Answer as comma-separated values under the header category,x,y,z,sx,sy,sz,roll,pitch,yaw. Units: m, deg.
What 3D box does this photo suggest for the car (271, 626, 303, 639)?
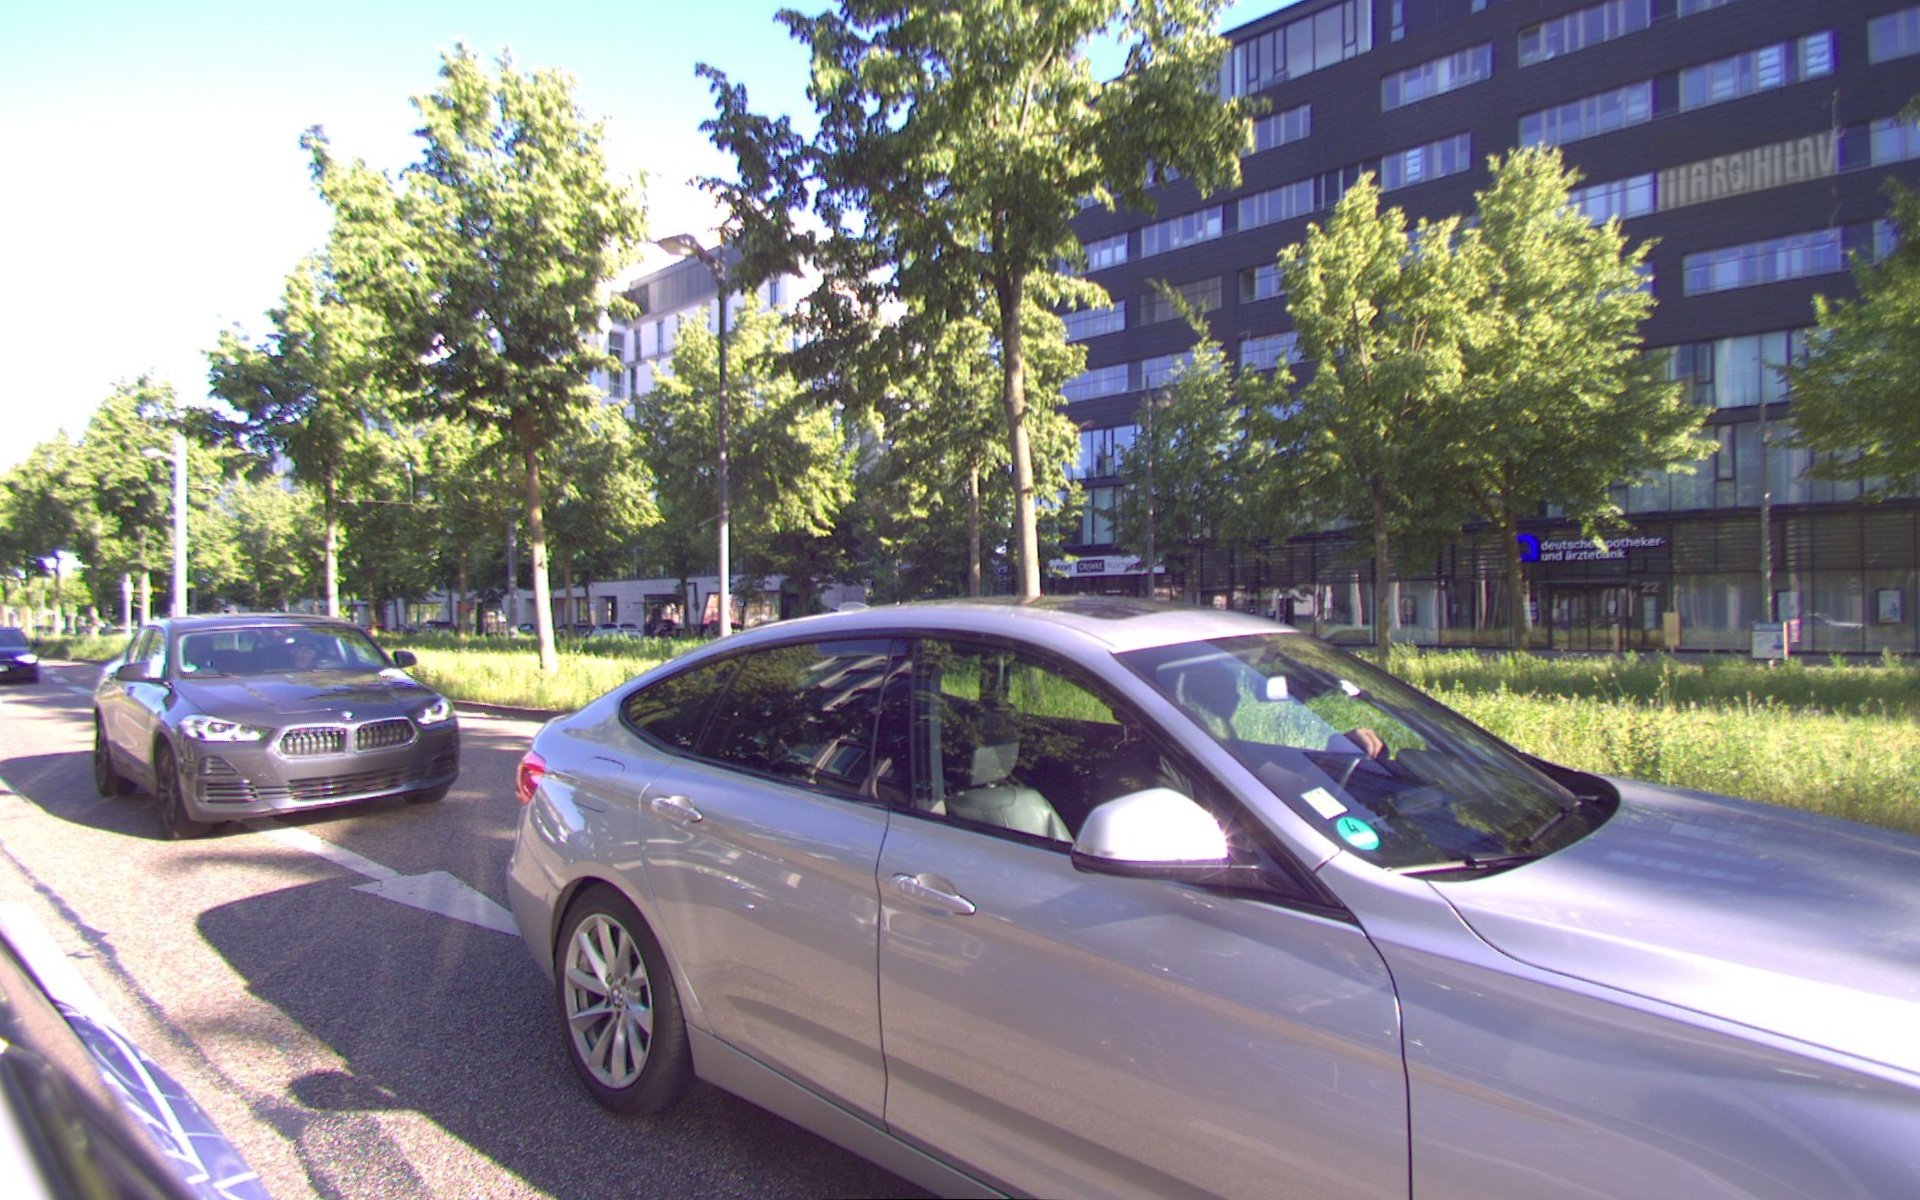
category,x,y,z,sx,sy,sz,roll,pitch,yaw
car,-72.530,3.515,109.070,3.998,1.406,1.972,-2,-2,41

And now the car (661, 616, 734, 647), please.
category,x,y,z,sx,sy,sz,roll,pitch,yaw
car,-14.514,1.737,55.895,4.182,1.609,1.926,-2,-1,41

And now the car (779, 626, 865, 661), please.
category,x,y,z,sx,sy,sz,roll,pitch,yaw
car,-6.766,2.085,49.393,4.182,1.609,1.926,-2,-1,41

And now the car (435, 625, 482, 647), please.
category,x,y,z,sx,sy,sz,roll,pitch,yaw
car,-38.668,2.749,77.980,4.182,1.609,1.859,-2,-1,41

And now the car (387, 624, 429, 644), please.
category,x,y,z,sx,sy,sz,roll,pitch,yaw
car,-46.585,2.865,85.383,4.182,1.609,1.859,-2,-1,41

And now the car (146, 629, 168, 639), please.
category,x,y,z,sx,sy,sz,roll,pitch,yaw
car,-114.623,4.834,144.503,4.001,1.406,1.971,-2,-2,44

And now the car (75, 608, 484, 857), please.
category,x,y,z,sx,sy,sz,roll,pitch,yaw
car,-5.613,0.845,8.155,3.999,1.502,1.836,-1,-1,42

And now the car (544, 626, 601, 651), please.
category,x,y,z,sx,sy,sz,roll,pitch,yaw
car,-25.698,2.536,67.061,4.182,1.609,1.859,-2,-1,41

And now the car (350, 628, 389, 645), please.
category,x,y,z,sx,sy,sz,roll,pitch,yaw
car,-52.961,3.255,90.755,4.001,1.406,1.971,-2,-2,44

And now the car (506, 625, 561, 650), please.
category,x,y,z,sx,sy,sz,roll,pitch,yaw
car,-29.727,2.602,70.473,4.182,1.609,1.859,-2,-1,41

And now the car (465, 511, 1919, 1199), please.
category,x,y,z,sx,sy,sz,roll,pitch,yaw
car,0.657,0.682,2.586,4.558,1.495,1.800,-1,-1,40

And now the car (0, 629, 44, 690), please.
category,x,y,z,sx,sy,sz,roll,pitch,yaw
car,-24.519,1.455,25.430,4.344,1.434,1.854,-1,-1,43

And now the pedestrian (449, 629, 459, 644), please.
category,x,y,z,sx,sy,sz,roll,pitch,yaw
pedestrian,-46.447,3.364,92.944,0.660,1.349,0.597,-2,-1,41

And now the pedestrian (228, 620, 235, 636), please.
category,x,y,z,sx,sy,sz,roll,pitch,yaw
pedestrian,-92.284,3.556,128.130,0.619,2.029,0.577,-2,-1,41

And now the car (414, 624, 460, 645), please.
category,x,y,z,sx,sy,sz,roll,pitch,yaw
car,-42.130,2.795,81.486,4.182,1.609,1.859,-2,-1,41

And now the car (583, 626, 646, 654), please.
category,x,y,z,sx,sy,sz,roll,pitch,yaw
car,-21.583,2.475,63.157,4.182,1.609,1.859,-2,-1,41
